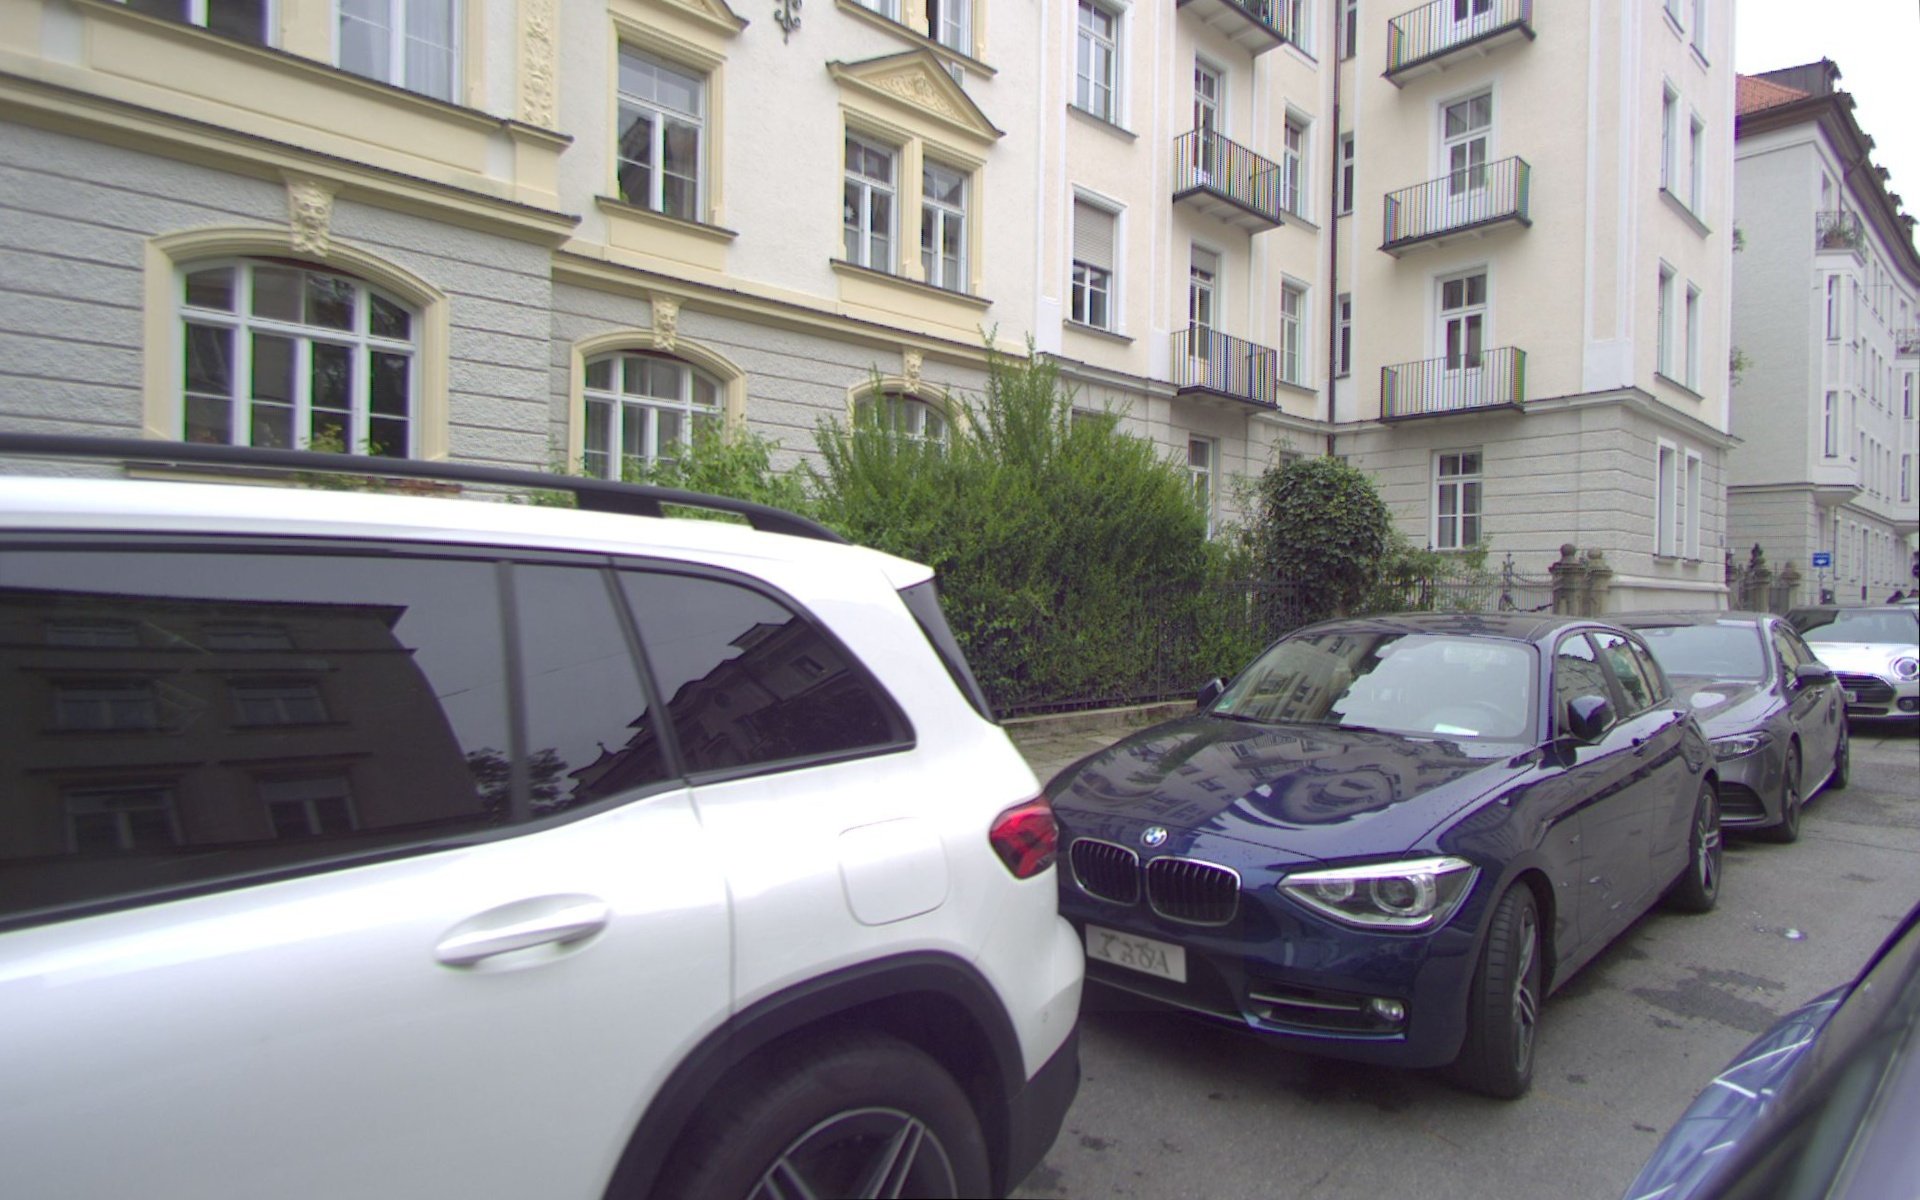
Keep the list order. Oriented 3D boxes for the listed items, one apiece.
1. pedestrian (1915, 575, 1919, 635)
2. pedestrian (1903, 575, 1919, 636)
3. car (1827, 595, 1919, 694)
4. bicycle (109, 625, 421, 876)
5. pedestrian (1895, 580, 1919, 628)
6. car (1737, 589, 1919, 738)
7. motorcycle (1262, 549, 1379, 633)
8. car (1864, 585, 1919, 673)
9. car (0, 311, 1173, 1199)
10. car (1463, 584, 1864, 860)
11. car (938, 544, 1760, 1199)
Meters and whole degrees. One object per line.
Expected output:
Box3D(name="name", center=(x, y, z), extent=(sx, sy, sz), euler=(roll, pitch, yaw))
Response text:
Box3D(name="pedestrian", center=(30.055, 0.168, 31.046), extent=(1.090, 1.834, 0.886), euler=(0, 1, -35))
Box3D(name="pedestrian", center=(29.032, 0.155, 30.357), extent=(1.090, 1.809, 0.886), euler=(0, 1, -37))
Box3D(name="car", center=(15.052, 0.642, 15.850), extent=(3.391, 1.424, 1.757), euler=(0, 0, -40))
Box3D(name="bicycle", center=(-3.576, 0.710, 5.267), extent=(1.291, 1.112, 0.455), euler=(0, 1, -42))
Box3D(name="pedestrian", center=(37.715, 0.153, 40.042), extent=(1.091, 1.836, 0.885), euler=(1, 0, -39))
Box3D(name="car", center=(10.952, 0.648, 12.165), extent=(3.993, 1.523, 1.787), euler=(0, 0, -41))
Box3D(name="motorcycle", center=(5.291, -0.111, 14.799), extent=(1.928, 1.126, 0.609), euler=(2, 2, -37))
Box3D(name="car", center=(19.069, 0.542, 19.431), extent=(4.320, 1.589, 1.826), euler=(1, -2, -39))
Box3D(name="car", center=(-1.767, 0.630, 1.409), extent=(4.335, 1.791, 1.726), euler=(0, -1, -40))
Box3D(name="car", center=(5.411, 0.668, 7.580), extent=(3.950, 1.523, 1.686), euler=(0, 0, -43))
Box3D(name="car", center=(2.083, 0.712, 4.504), extent=(4.350, 1.631, 1.751), euler=(1, -1, -44))
